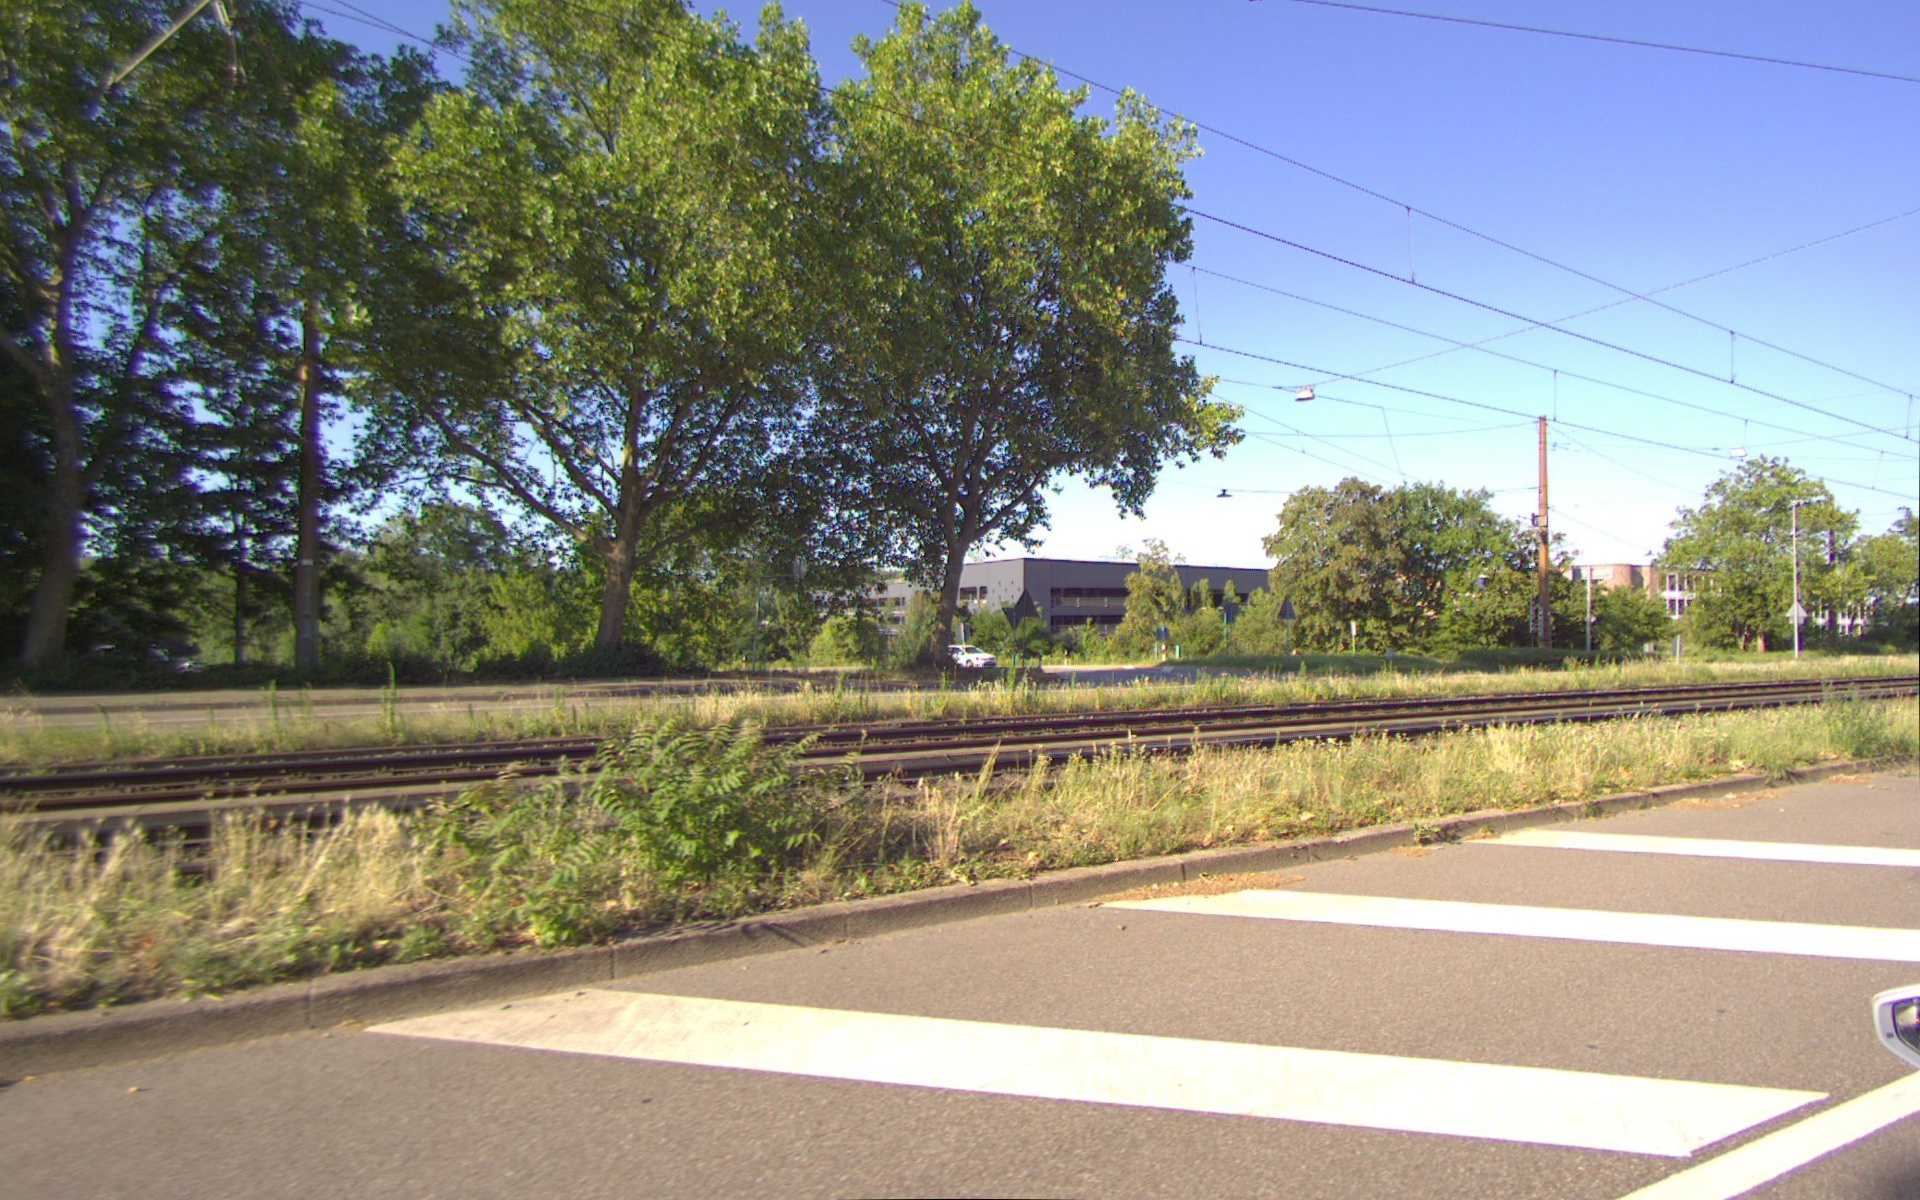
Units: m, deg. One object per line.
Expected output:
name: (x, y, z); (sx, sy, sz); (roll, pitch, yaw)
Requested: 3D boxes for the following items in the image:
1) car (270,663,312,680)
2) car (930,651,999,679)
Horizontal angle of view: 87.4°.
car: (-64.961, 6.995, 97.574); (4.052, 1.544, 1.657); (-3, -6, 29)
car: (0.255, 3.789, 58.656); (1.646, 1.545, 4.223); (4, -4, -41)
